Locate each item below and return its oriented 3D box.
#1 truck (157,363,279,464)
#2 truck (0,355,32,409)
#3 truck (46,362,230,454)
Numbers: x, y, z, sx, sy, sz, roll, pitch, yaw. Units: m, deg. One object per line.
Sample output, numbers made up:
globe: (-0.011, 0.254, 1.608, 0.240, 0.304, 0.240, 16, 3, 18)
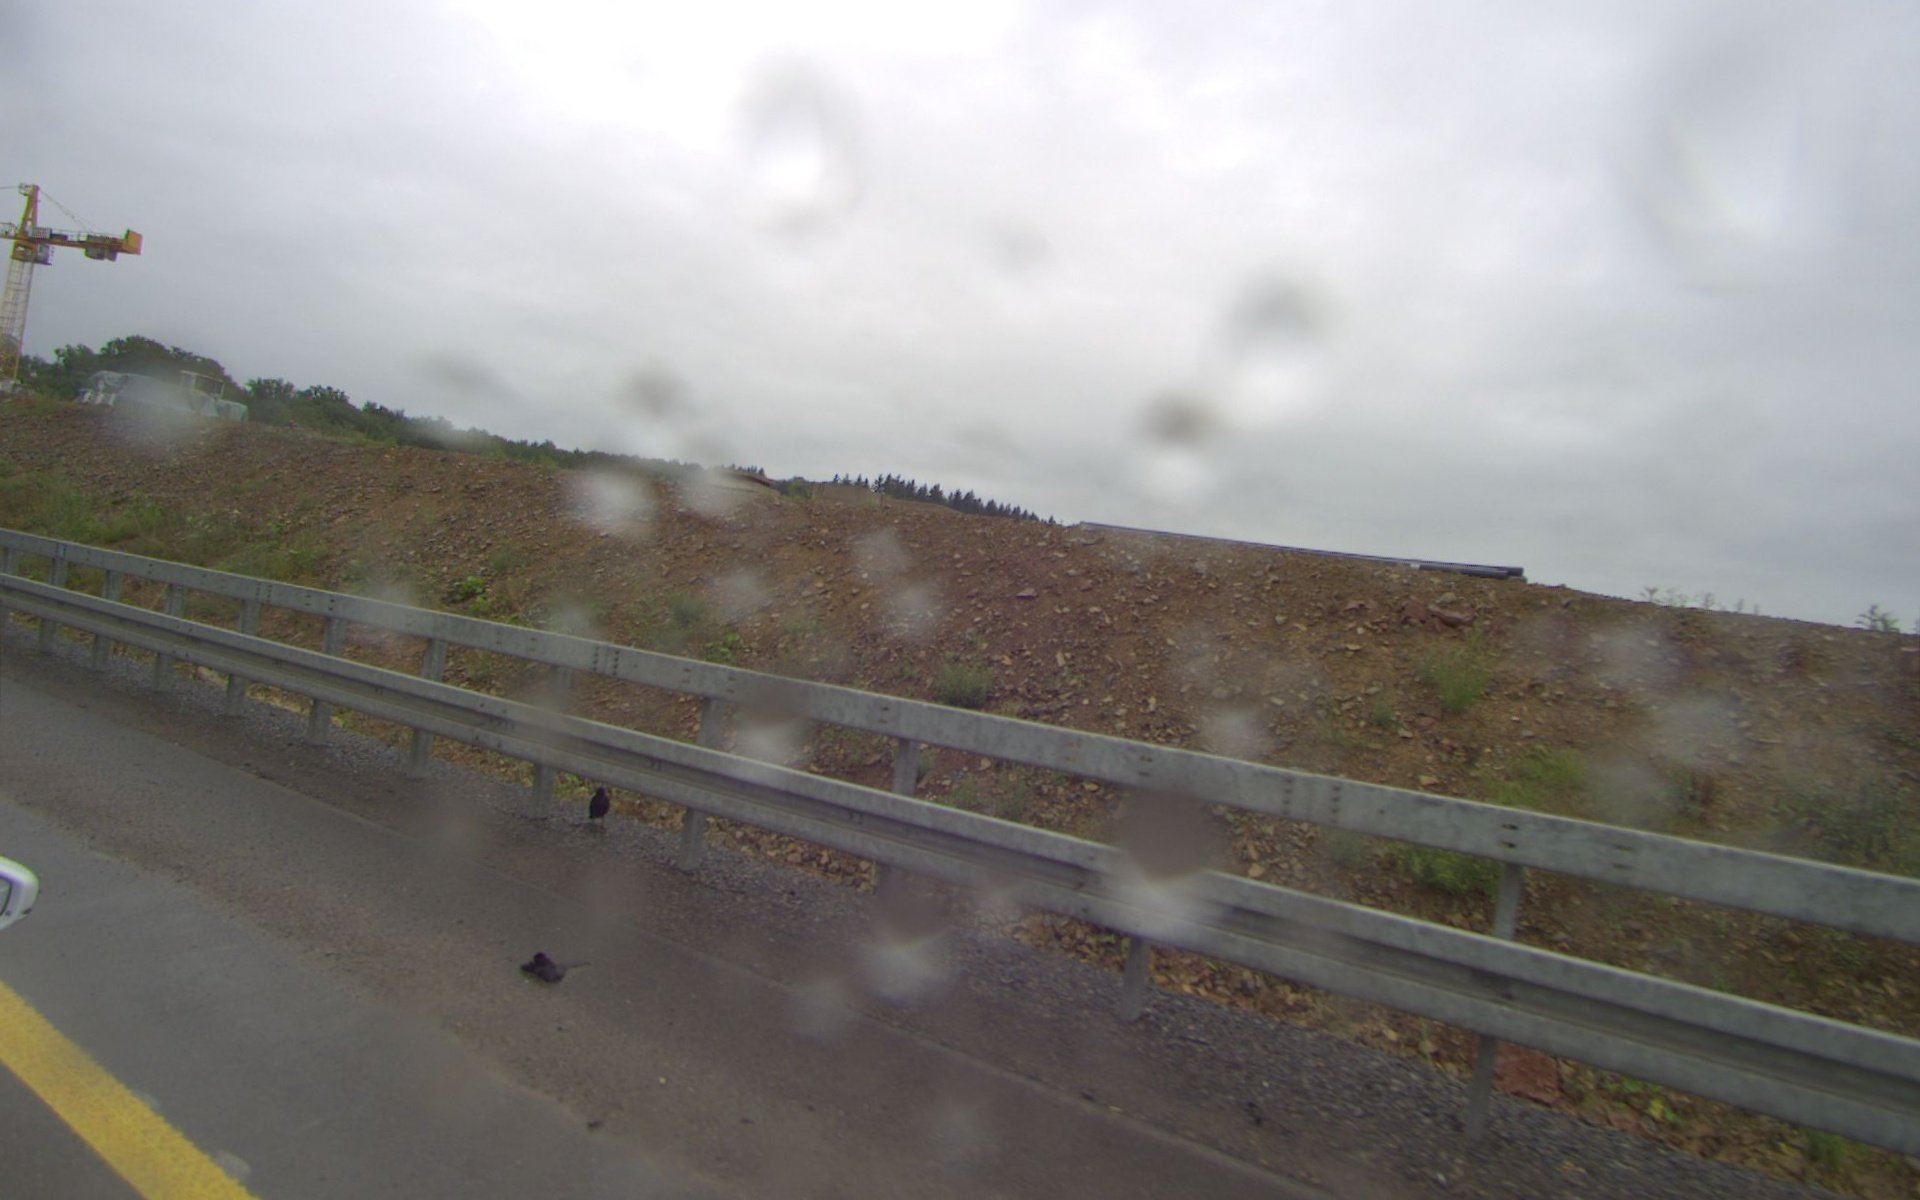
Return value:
truck: (-36.647, -9.181, 49.622, 5.878, 4.269, 2.377, 7, 0, 31)
truck: (-53.941, -12.072, 55.025, 6.867, 2.585, 2.650, 7, -1, 31)
truck: (-35.508, -8.191, 43.349, 8.813, 2.909, 3.400, 7, -1, 33)
